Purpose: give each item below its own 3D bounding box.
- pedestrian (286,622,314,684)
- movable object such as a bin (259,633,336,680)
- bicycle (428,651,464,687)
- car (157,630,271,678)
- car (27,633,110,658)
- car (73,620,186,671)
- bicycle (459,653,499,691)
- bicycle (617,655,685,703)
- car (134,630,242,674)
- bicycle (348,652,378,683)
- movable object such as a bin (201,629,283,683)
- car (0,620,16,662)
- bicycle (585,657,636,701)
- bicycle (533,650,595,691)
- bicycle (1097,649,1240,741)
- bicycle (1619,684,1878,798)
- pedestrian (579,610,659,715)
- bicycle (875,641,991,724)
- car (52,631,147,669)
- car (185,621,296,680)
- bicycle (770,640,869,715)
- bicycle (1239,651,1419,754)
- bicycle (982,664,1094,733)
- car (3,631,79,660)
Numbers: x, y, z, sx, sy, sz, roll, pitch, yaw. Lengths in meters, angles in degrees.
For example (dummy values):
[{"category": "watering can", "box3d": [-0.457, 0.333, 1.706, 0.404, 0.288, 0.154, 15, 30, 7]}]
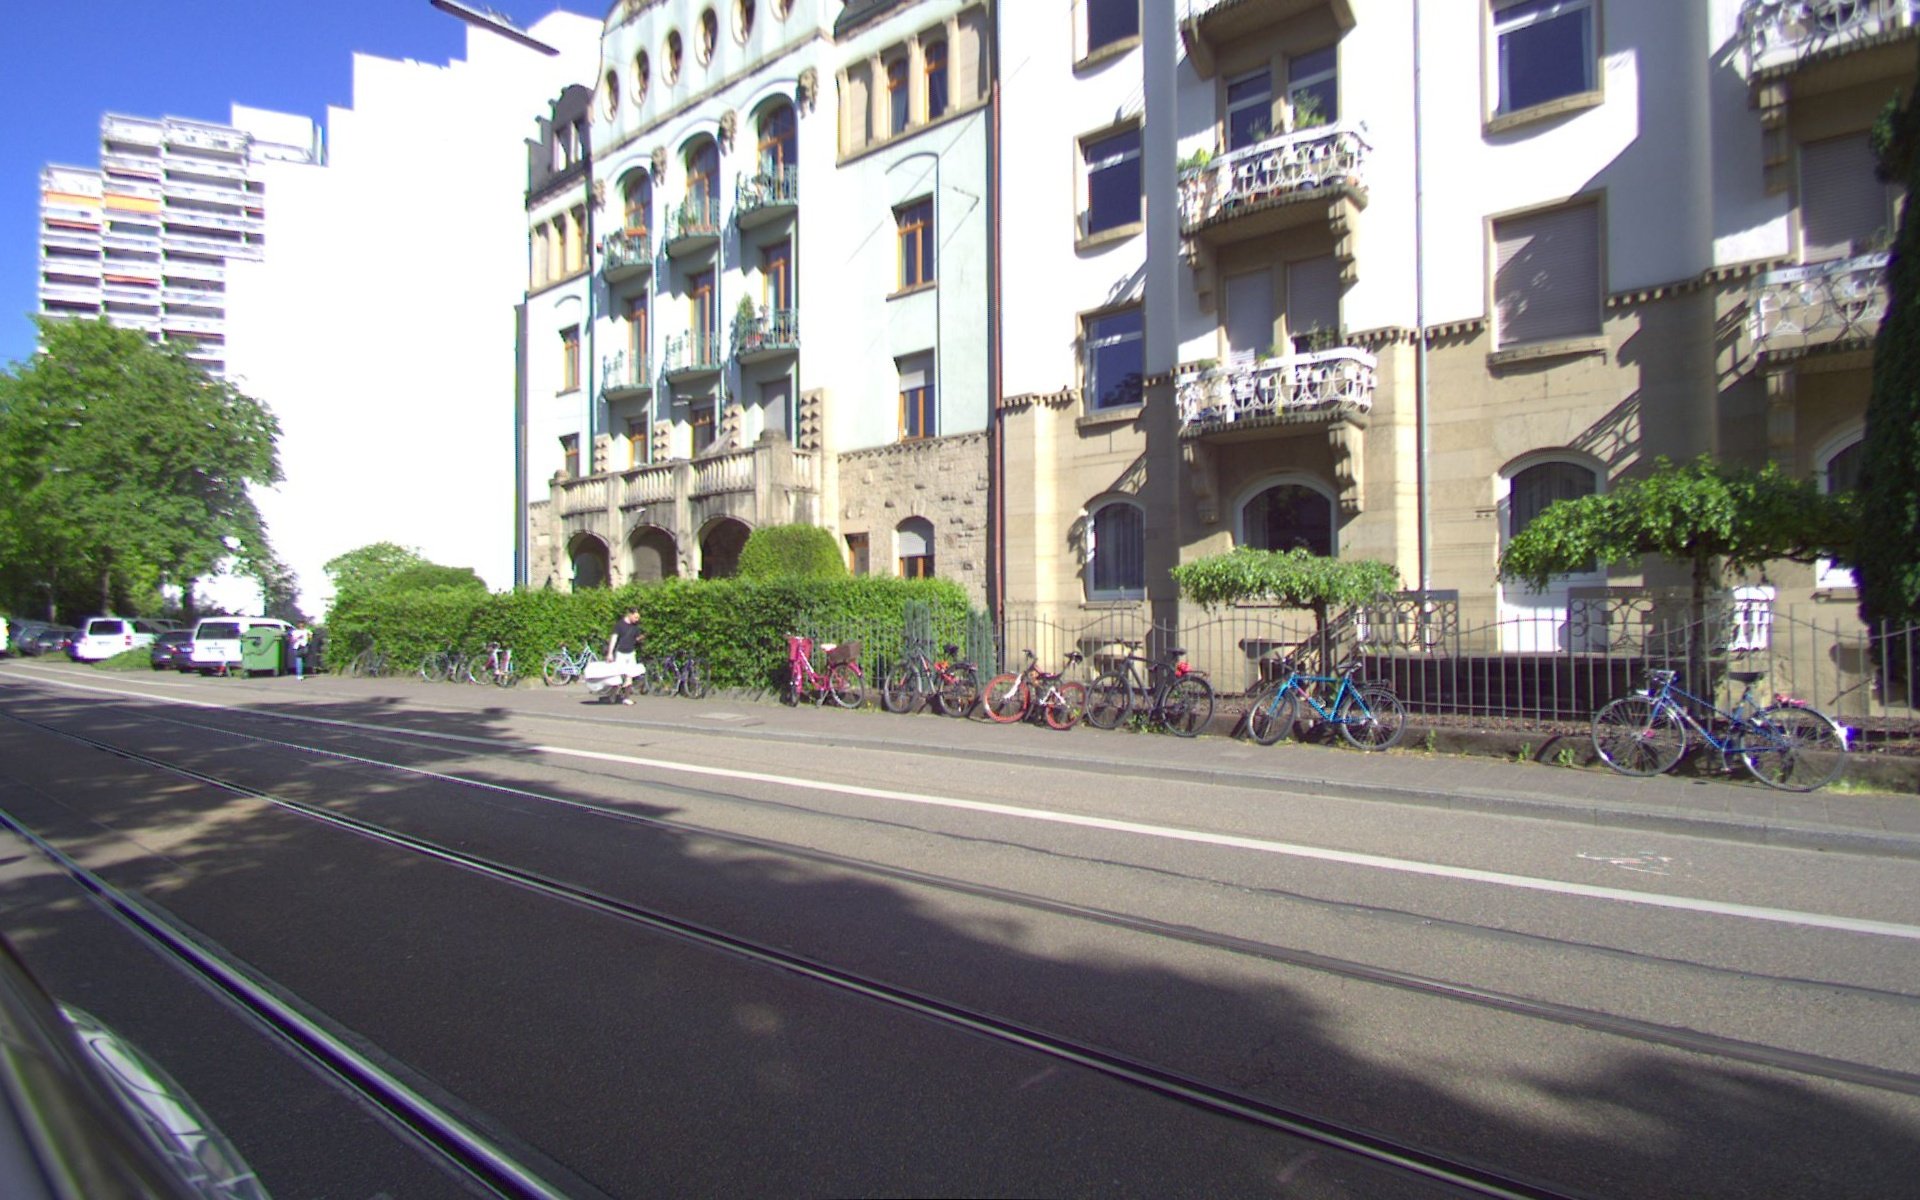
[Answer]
[{"category": "pedestrian", "box3d": [-17.926, 1.417, 27.484, 0.659, 1.641, 0.469, -1, 0, 41]}, {"category": "movable object such as a bin", "box3d": [-20.462, 1.717, 31.263, 2.095, 1.326, 1.482, -1, 0, 41]}, {"category": "bicycle", "box3d": [-11.956, 1.599, 23.507, 1.263, 0.767, 0.293, -1, 0, 41]}, {"category": "car", "box3d": [-25.133, 1.797, 34.164, 1.451, 1.446, 2.734, -1, 0, 24]}, {"category": "car", "box3d": [-42.928, 2.179, 48.771, 1.220, 1.097, 2.734, -1, 0, 24]}, {"category": "car", "box3d": [-33.300, 1.794, 40.696, 1.894, 1.885, 3.447, -1, 0, -4]}, {"category": "bicycle", "box3d": [-10.611, 1.582, 22.325, 1.263, 0.767, 0.314, -1, 0, 41]}, {"category": "bicycle", "box3d": [-5.582, 1.413, 18.242, 1.581, 0.767, 0.400, -1, 0, 41]}, {"category": "car", "box3d": [-27.689, 1.830, 36.352, 1.451, 1.446, 2.734, -1, 0, 24]}, {"category": "bicycle", "box3d": [-15.645, 1.760, 26.495, 1.263, 0.767, 0.293, -1, 0, 41]}, {"category": "movable object such as a bin", "box3d": [-20.815, 1.589, 29.339, 2.095, 1.443, 1.493, -1, 0, 41]}, {"category": "car", "box3d": [-47.079, 1.979, 48.773, 1.968, 1.918, 4.008, -1, 0, -39]}, {"category": "bicycle", "box3d": [-6.663, 1.486, 19.290, 1.263, 0.767, 0.335, -1, 0, 41]}, {"category": "bicycle", "box3d": [-8.574, 1.519, 21.945, 0.297, 0.799, 1.246, -1, 0, 41]}, {"category": "bicycle", "box3d": [2.398, 1.078, 11.784, 1.648, 0.949, 0.400, -1, 0, 41]}, {"category": "bicycle", "box3d": [6.411, 1.118, 8.307, 1.651, 0.767, 0.314, -1, 0, 41]}, {"category": "pedestrian", "box3d": [-5.729, 1.019, 17.019, 0.870, 1.640, 0.858, -1, 4, 41]}, {"category": "bicycle", "box3d": [-0.402, 1.110, 14.014, 1.815, 1.031, 0.400, -1, 0, 41]}, {"category": "car", "box3d": [-36.170, 2.083, 42.592, 1.451, 1.446, 2.734, -1, 0, 24]}, {"category": "car", "box3d": [-22.830, 1.614, 32.234, 1.438, 1.787, 3.189, -1, -3, -5]}, {"category": "bicycle", "box3d": [-2.163, 1.155, 15.442, 1.815, 1.031, 0.400, -1, 0, 41]}, {"category": "bicycle", "box3d": [3.829, 1.038, 10.605, 1.748, 0.949, 0.400, -1, 0, 41]}, {"category": "bicycle", "box3d": [0.968, 1.225, 12.859, 1.542, 0.767, 0.314, -1, 0, 41]}, {"category": "car", "box3d": [-48.451, 2.378, 53.378, 1.220, 1.436, 2.734, -1, 0, 24]}]
